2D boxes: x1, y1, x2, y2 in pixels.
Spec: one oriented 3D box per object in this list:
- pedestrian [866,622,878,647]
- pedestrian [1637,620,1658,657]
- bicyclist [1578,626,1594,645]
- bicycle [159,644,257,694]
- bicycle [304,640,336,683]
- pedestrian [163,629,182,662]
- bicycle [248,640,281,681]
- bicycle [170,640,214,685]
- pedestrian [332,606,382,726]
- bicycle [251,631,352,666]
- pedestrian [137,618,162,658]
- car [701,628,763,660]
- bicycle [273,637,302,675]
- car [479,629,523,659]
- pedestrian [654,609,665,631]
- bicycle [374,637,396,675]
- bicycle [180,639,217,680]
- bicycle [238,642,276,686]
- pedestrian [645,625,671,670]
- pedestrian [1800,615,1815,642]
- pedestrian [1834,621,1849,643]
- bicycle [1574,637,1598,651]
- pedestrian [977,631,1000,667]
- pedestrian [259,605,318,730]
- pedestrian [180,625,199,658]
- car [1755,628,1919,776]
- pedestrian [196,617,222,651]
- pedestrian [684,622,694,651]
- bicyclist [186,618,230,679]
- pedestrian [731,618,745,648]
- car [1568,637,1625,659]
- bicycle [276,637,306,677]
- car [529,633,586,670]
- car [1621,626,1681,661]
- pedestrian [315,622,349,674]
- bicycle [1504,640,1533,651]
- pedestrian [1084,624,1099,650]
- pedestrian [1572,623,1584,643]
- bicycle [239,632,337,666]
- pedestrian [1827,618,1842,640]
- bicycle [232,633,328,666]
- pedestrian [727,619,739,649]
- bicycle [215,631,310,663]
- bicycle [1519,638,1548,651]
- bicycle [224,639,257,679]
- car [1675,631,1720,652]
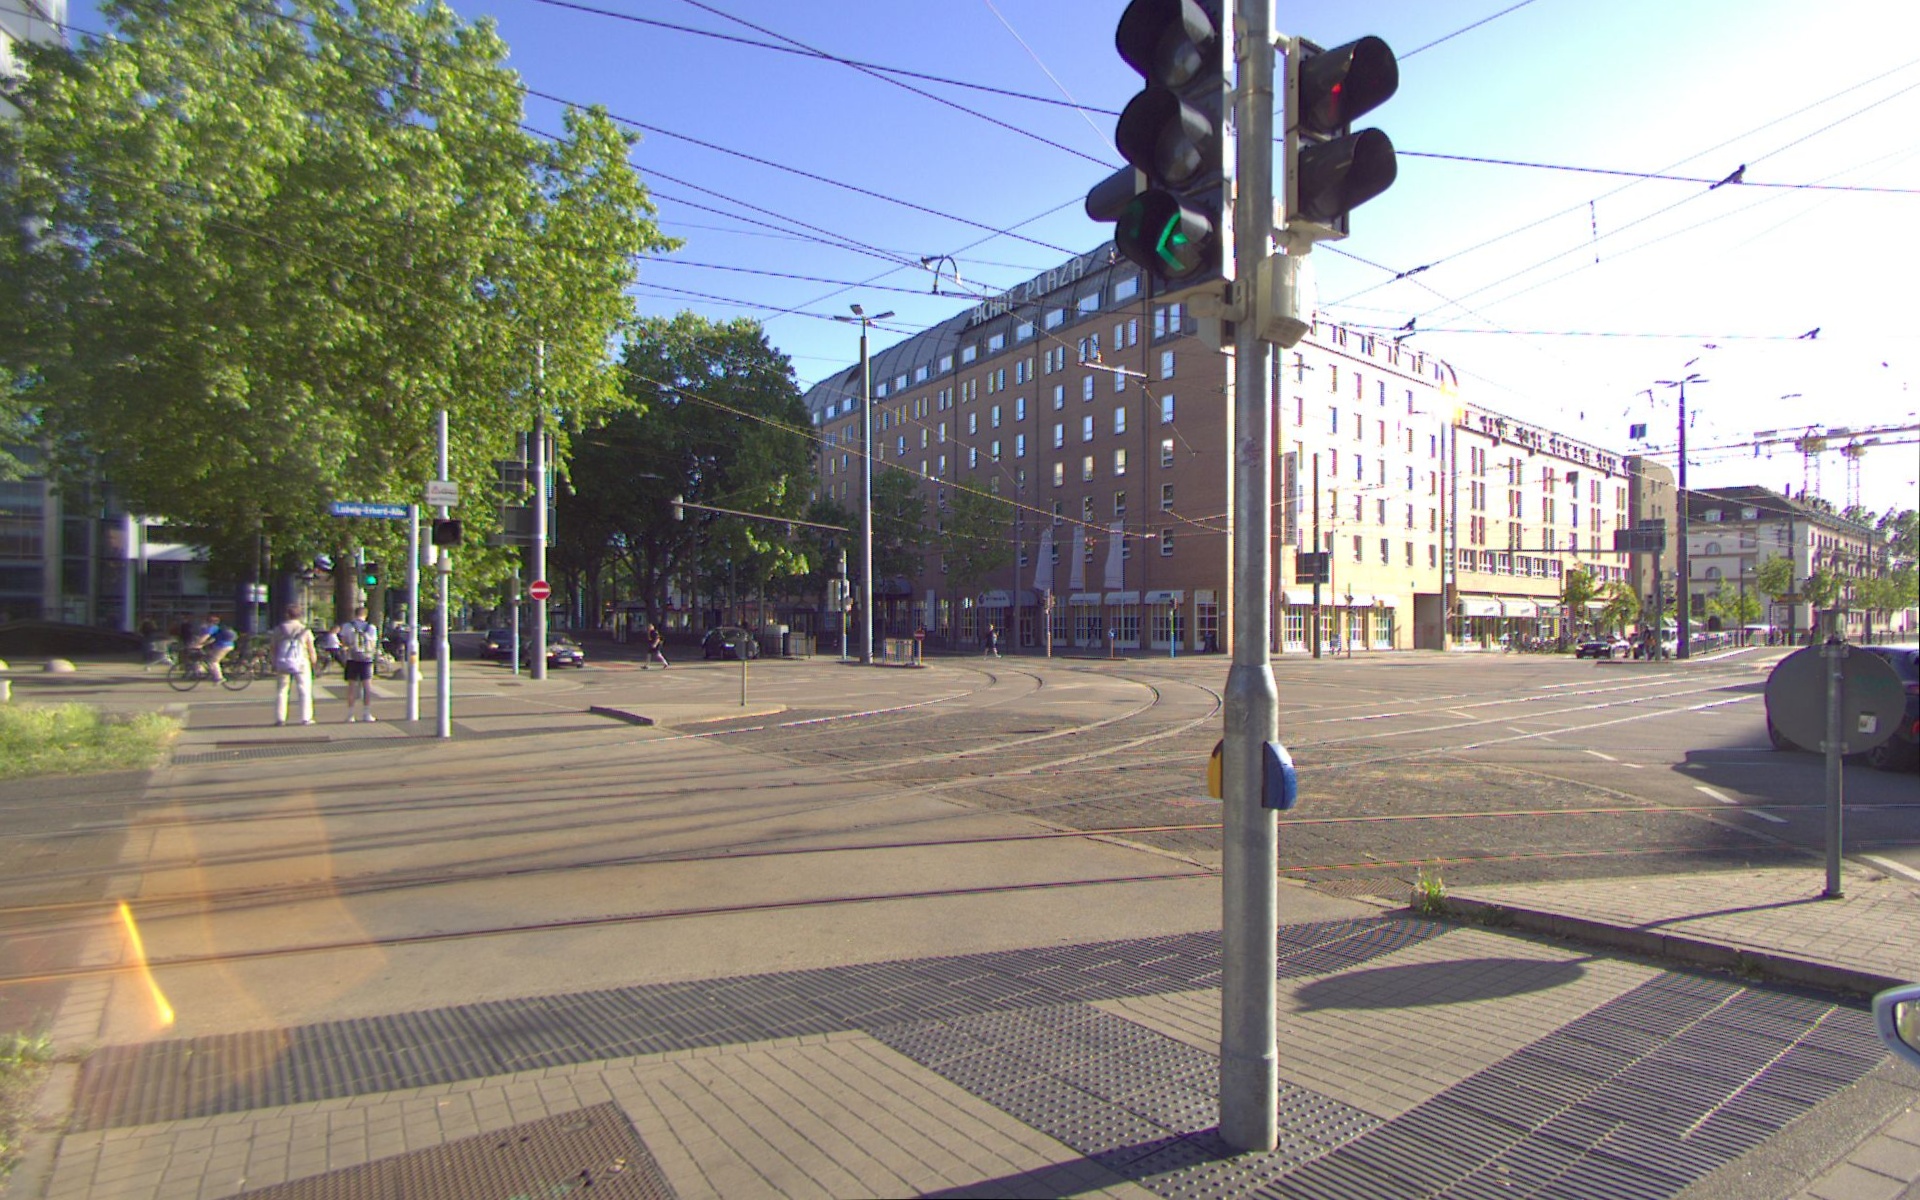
[{"bbox_3d":[-6.012,2.331,68.732,0.599,1.702,0.482,-1,0,-32],"label":"pedestrian"},{"bbox_3d":[33.359,1.853,48.745,0.589,1.750,0.715,1,-2,-39],"label":"pedestrian"},{"bbox_3d":[46.787,2.629,75.097,0.918,1.395,0.803,1,-2,-41],"label":"bicyclist"},{"bbox_3d":[-18.428,1.672,24.653,1.829,1.152,0.688,1,-1,-30],"label":"bicycle"},{"bbox_3d":[-18.218,1.719,28.622,0.591,1.143,2.349,0,-1,-29],"label":"bicycle"},{"bbox_3d":[-41.088,2.370,52.428,0.691,1.737,0.727,1,-1,-32],"label":"pedestrian"},{"bbox_3d":[-20.919,1.787,30.238,0.592,1.143,2.348,0,-1,-30],"label":"bicycle"},{"bbox_3d":[-20.984,1.686,27.478,0.591,1.143,2.349,0,-1,-29],"label":"bicycle"},{"bbox_3d":[-9.806,1.047,16.345,0.666,1.894,0.727,1,-1,-32],"label":"pedestrian"},{"bbox_3d":[-27.108,1.983,41.431,1.021,1.371,3.341,-1,-2,44],"label":"bicycle"},{"bbox_3d":[-33.896,1.593,42.019,0.691,1.674,0.700,1,-1,-32],"label":"pedestrian"},{"bbox_3d":[-10.582,2.025,46.478,1.653,1.433,3.966,1,-2,-32],"label":"car"},{"bbox_3d":[-21.763,1.798,32.534,0.592,1.143,2.348,0,-1,-30],"label":"bicycle"},{"bbox_3d":[-22.924,2.194,50.122,1.652,1.425,3.969,1,-2,-30],"label":"car"},{"bbox_3d":[-21.658,1.445,72.432,0.476,1.594,0.672,1,0,11],"label":"pedestrian"},{"bbox_3d":[-18.379,1.760,32.133,0.592,1.143,2.348,0,-1,-30],"label":"bicycle"},{"bbox_3d":[-22.743,1.751,30.033,0.592,1.143,2.348,0,-1,-30],"label":"bicycle"},{"bbox_3d":[-19.435,1.745,27.800,0.591,1.143,2.349,0,-1,-29],"label":"bicycle"},{"bbox_3d":[-11.812,1.857,39.333,0.821,1.702,0.711,-1,0,-29],"label":"pedestrian"},{"bbox_3d":[61.730,2.082,73.159,0.850,1.911,0.734,0,0,40],"label":"pedestrian"},{"bbox_3d":[68.558,2.510,78.084,0.850,1.692,0.734,0,0,40],"label":"pedestrian"},{"bbox_3d":[46.818,3.295,75.101,2.490,1.004,0.802,1,-2,-42],"label":"bicycle"},{"bbox_3d":[1.379,2.398,49.183,0.824,1.702,0.709,-1,-1,-38],"label":"pedestrian"},{"bbox_3d":[-10.483,1.032,15.709,0.691,1.894,0.728,1,-1,-30],"label":"pedestrian"},{"bbox_3d":[-40.486,2.182,52.788,0.691,1.737,0.727,1,-1,-32],"label":"pedestrian"},{"bbox_3d":[11.547,1.171,12.302,1.644,1.522,3.691,2,0,19],"label":"car"},{"bbox_3d":[-37.390,1.691,50.017,0.685,1.644,0.734,0,-1,2],"label":"pedestrian"},{"bbox_3d":[-17.146,2.303,63.552,0.583,1.824,0.742,1,-1,-16],"label":"pedestrian"},{"bbox_3d":[-18.445,1.177,24.653,0.745,1.480,0.688,1,-1,-30],"label":"bicyclist"},{"bbox_3d":[-13.700,2.039,61.995,0.630,1.853,0.737,1,-1,-36],"label":"pedestrian"},{"bbox_3d":[38.085,2.858,60.080,4.198,1.285,1.823,2,-4,-42],"label":"car"},{"bbox_3d":[-20.319,1.717,30.515,0.592,1.143,2.348,0,-1,-30],"label":"bicycle"},{"bbox_3d":[-16.423,2.049,40.890,1.652,1.425,3.969,1,-2,-30],"label":"car"},{"bbox_3d":[39.330,2.469,57.133,4.075,1.860,1.824,1,-4,-41],"label":"car"},{"bbox_3d":[-21.195,1.615,33.906,0.819,1.702,0.712,-1,0,-22],"label":"pedestrian"},{"bbox_3d":[42.490,3.446,76.427,0.477,0.856,2.025,0,-2,-29],"label":"bicycle"},{"bbox_3d":[8.784,2.465,67.071,0.734,1.688,0.745,0,-1,-38],"label":"pedestrian"},{"bbox_3d":[55.217,2.929,89.748,0.560,1.787,0.711,1,-2,-37],"label":"pedestrian"},{"bbox_3d":[-28.589,2.060,42.775,1.021,1.371,3.341,-1,-2,44],"label":"bicycle"},{"bbox_3d":[68.633,2.302,78.834,0.850,1.692,0.781,0,0,40],"label":"pedestrian"},{"bbox_3d":[-29.629,2.118,43.856,1.021,1.371,3.341,-1,-2,44],"label":"bicycle"},{"bbox_3d":[-14.150,2.119,62.546,0.581,1.853,0.745,0,-1,0],"label":"pedestrian"},{"bbox_3d":[-30.979,2.069,44.656,1.021,1.371,3.341,-1,-2,44],"label":"bicycle"},{"bbox_3d":[44.604,3.449,78.105,0.477,0.933,2.025,0,-2,-29],"label":"bicycle"},{"bbox_3d":[-21.777,1.758,30.429,0.592,1.143,2.348,0,-1,-30],"label":"bicycle"},{"bbox_3d":[53.908,3.002,73.400,4.266,1.467,1.823,2,-4,-42],"label":"car"}]
